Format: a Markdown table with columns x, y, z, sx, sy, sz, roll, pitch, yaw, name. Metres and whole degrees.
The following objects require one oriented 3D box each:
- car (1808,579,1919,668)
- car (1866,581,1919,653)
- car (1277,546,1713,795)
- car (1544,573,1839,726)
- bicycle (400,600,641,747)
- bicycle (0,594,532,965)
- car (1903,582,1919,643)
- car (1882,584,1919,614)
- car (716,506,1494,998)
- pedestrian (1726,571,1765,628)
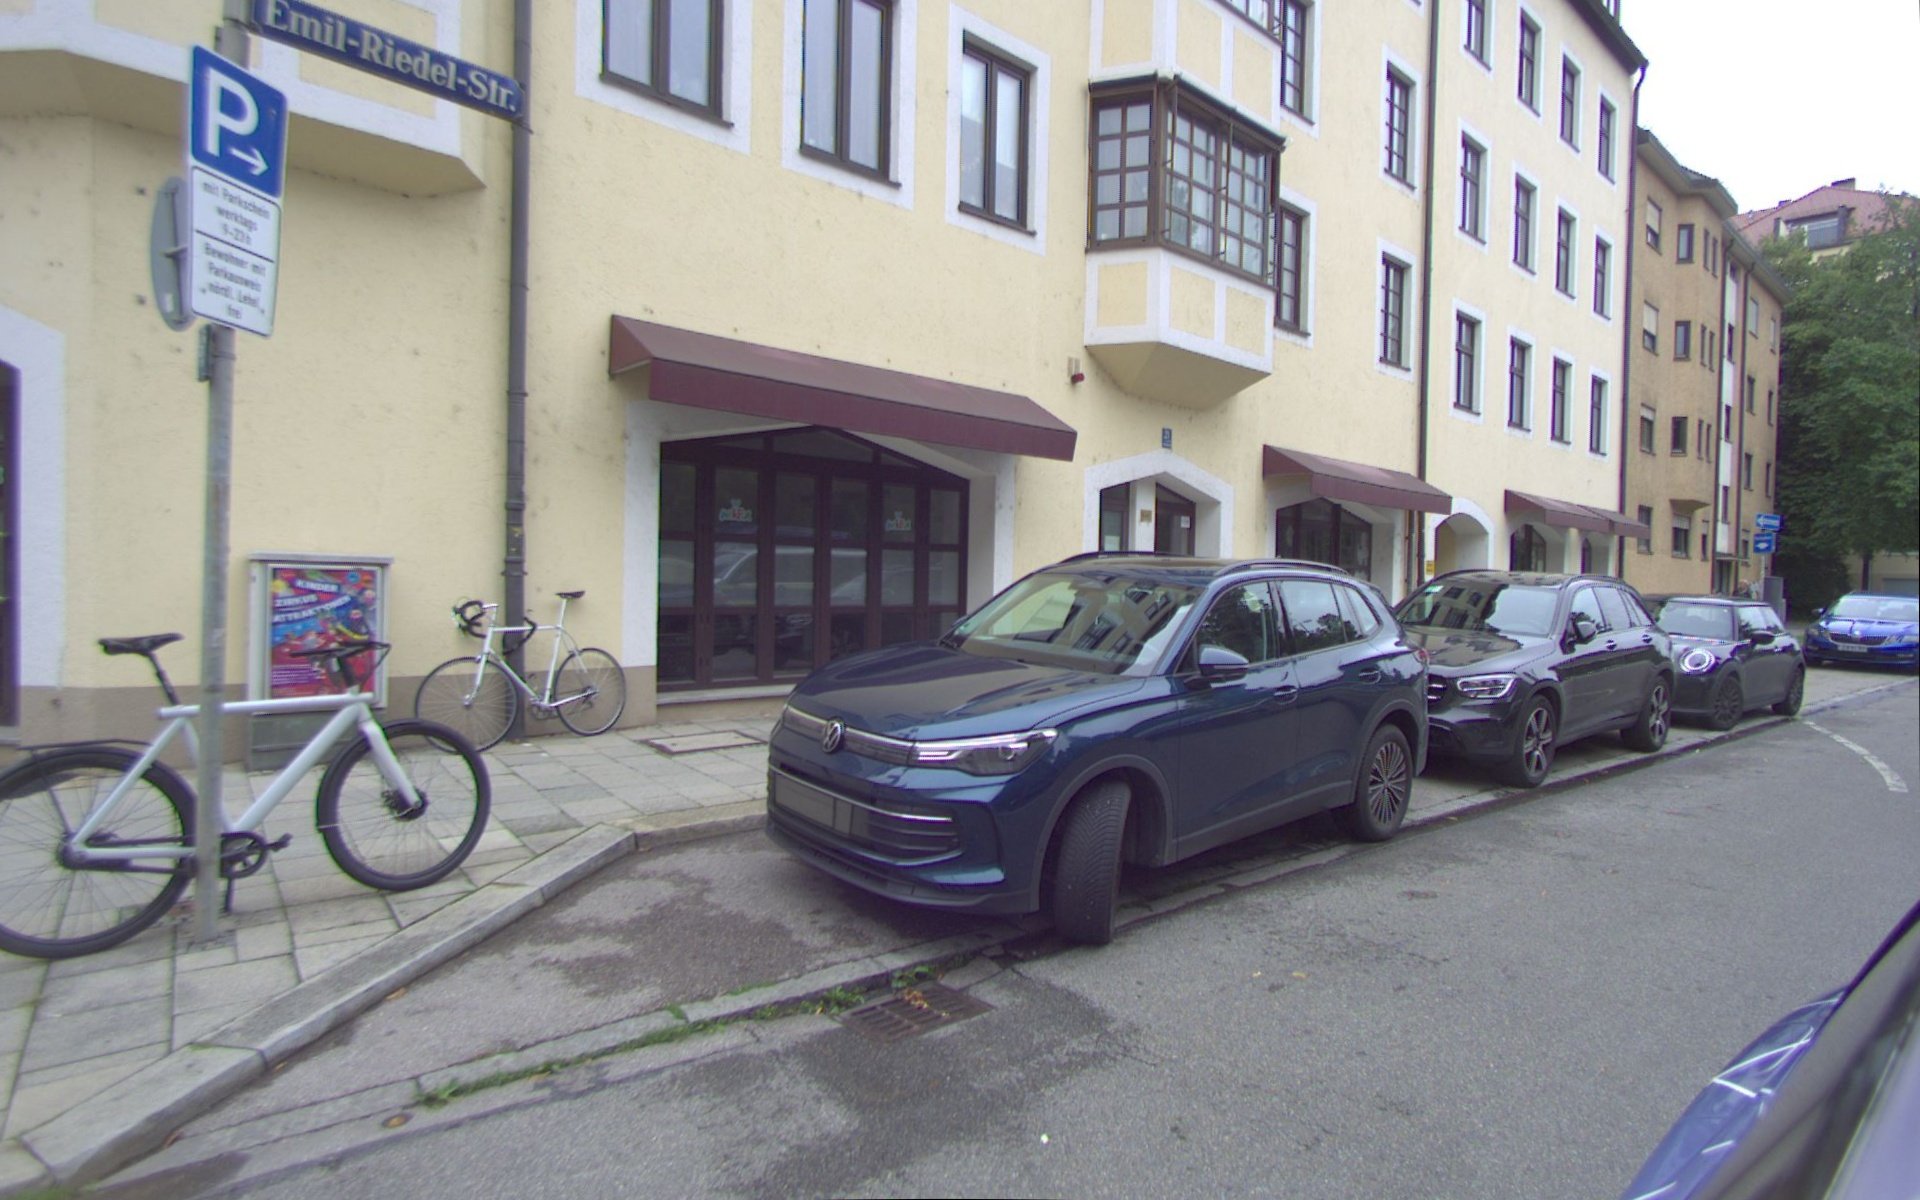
| x | y | z | sx | sy | sz | roll | pitch | yaw | name |
| --- | --- | --- | --- | --- | --- | --- | --- | --- | --- |
| 18.310 | 0.402 | 19.800 | 4.406 | 1.514 | 1.761 | 0 | 3 | -39 | car |
| 22.154 | 0.370 | 22.943 | 4.354 | 1.514 | 1.695 | 0 | 3 | -39 | car |
| 4.988 | 0.445 | 9.139 | 4.622 | 1.700 | 1.761 | 0 | 3 | -39 | car |
| 8.852 | 0.487 | 12.175 | 3.751 | 1.514 | 1.763 | 0 | 3 | -36 | car |
| -3.226 | 0.501 | 7.556 | 1.656 | 0.990 | 0.271 | 0 | 0 | -42 | bicycle |
| -2.802 | 0.592 | 4.024 | 1.960 | 1.223 | 0.515 | 0 | 1 | -41 | bicycle |
| 25.970 | 0.343 | 26.272 | 3.718 | 1.514 | 1.632 | 0 | 3 | -39 | car |
| 50.198 | -0.054 | 53.301 | 4.174 | 1.485 | 2.051 | 0 | 2 | -43 | car |
| 1.098 | 0.465 | 5.641 | 4.432 | 1.700 | 1.822 | 0 | 3 | -41 | car |
| 23.231 | -0.036 | 29.934 | 0.962 | 1.644 | 0.672 | -1 | 2 | -38 | pedestrian |
